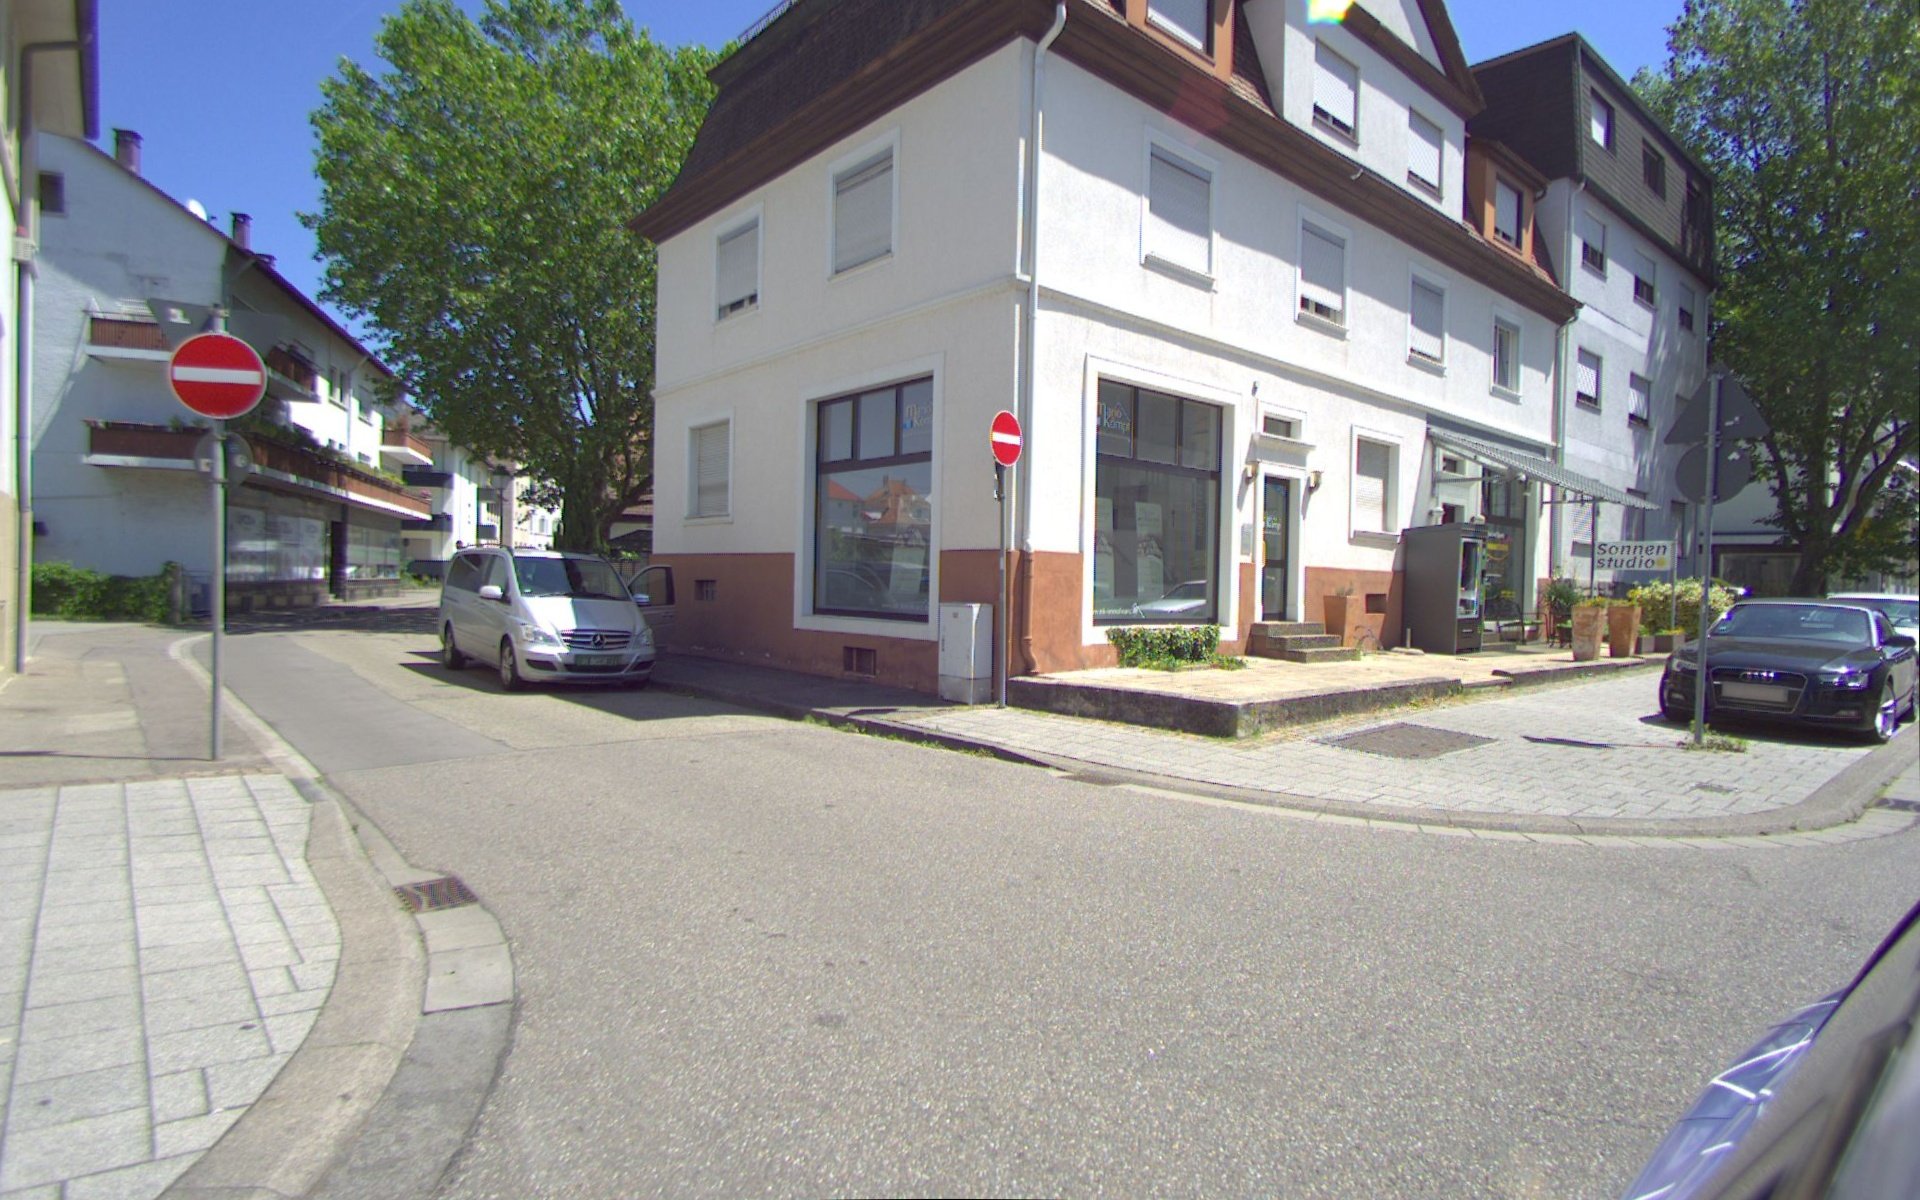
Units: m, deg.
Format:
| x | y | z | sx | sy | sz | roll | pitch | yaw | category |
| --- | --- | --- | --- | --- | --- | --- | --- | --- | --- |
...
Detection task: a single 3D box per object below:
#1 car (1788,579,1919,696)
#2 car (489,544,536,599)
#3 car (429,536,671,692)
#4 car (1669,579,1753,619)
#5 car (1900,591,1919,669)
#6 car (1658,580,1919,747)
| x | y | z | sx | sy | sz | roll | pitch | yaw | category |
| --- | --- | --- | --- | --- | --- | --- | --- | --- | --- |
| 14.227 | 0.484 | 15.324 | 4.767 | 1.486 | 1.748 | 0 | 4 | -41 | car |
| -22.659 | -1.426 | 51.324 | 1.847 | 2.638 | 4.638 | 1 | 1 | -20 | car |
| -6.152 | 0.127 | 14.819 | 1.894 | 1.900 | 4.805 | 2 | 0 | -39 | car |
| 30.470 | -0.092 | 41.165 | 1.715 | 1.518 | 3.443 | 1 | 2 | 19 | car |
| 18.667 | 0.547 | 18.618 | 4.101 | 1.357 | 1.561 | 0 | 3 | -41 | car |
| 9.717 | 0.552 | 11.456 | 4.618 | 1.444 | 1.831 | 0 | 4 | -41 | car |
